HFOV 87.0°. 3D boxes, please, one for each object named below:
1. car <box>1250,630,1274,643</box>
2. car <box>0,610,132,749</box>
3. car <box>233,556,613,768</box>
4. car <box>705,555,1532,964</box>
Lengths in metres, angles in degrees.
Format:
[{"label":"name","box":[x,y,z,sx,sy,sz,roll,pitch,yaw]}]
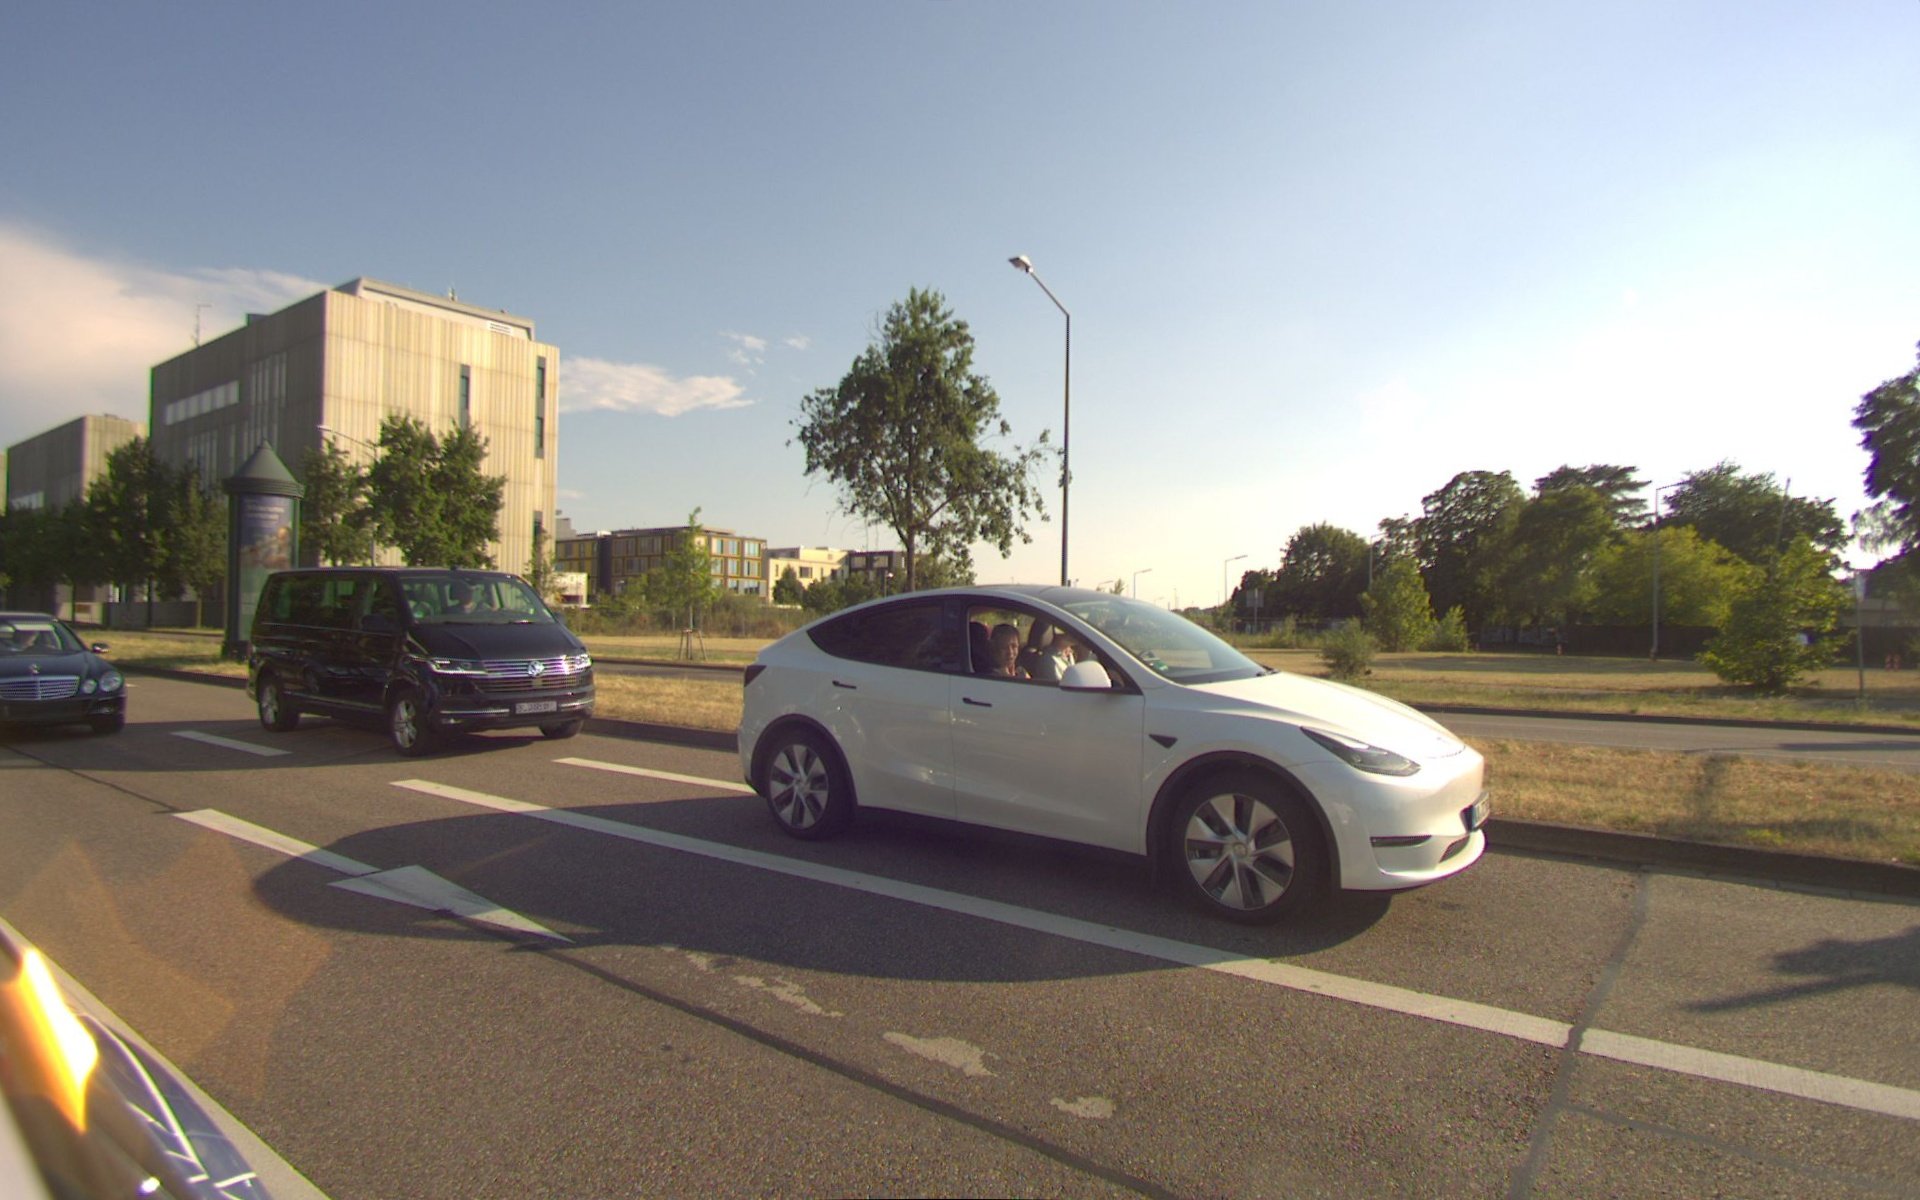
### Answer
[{"label":"car","box":[31.623,3.841,105.971,1.315,1.302,2.810,1,-2,-10]},{"label":"car","box":[-11.523,0.870,12.181,4.493,1.448,1.786,-1,-2,42]},{"label":"car","box":[-6.250,0.581,11.519,5.003,1.947,1.839,0,0,36]},{"label":"car","box":[0.660,0.659,6.094,4.669,1.611,1.719,-1,-1,37]}]
